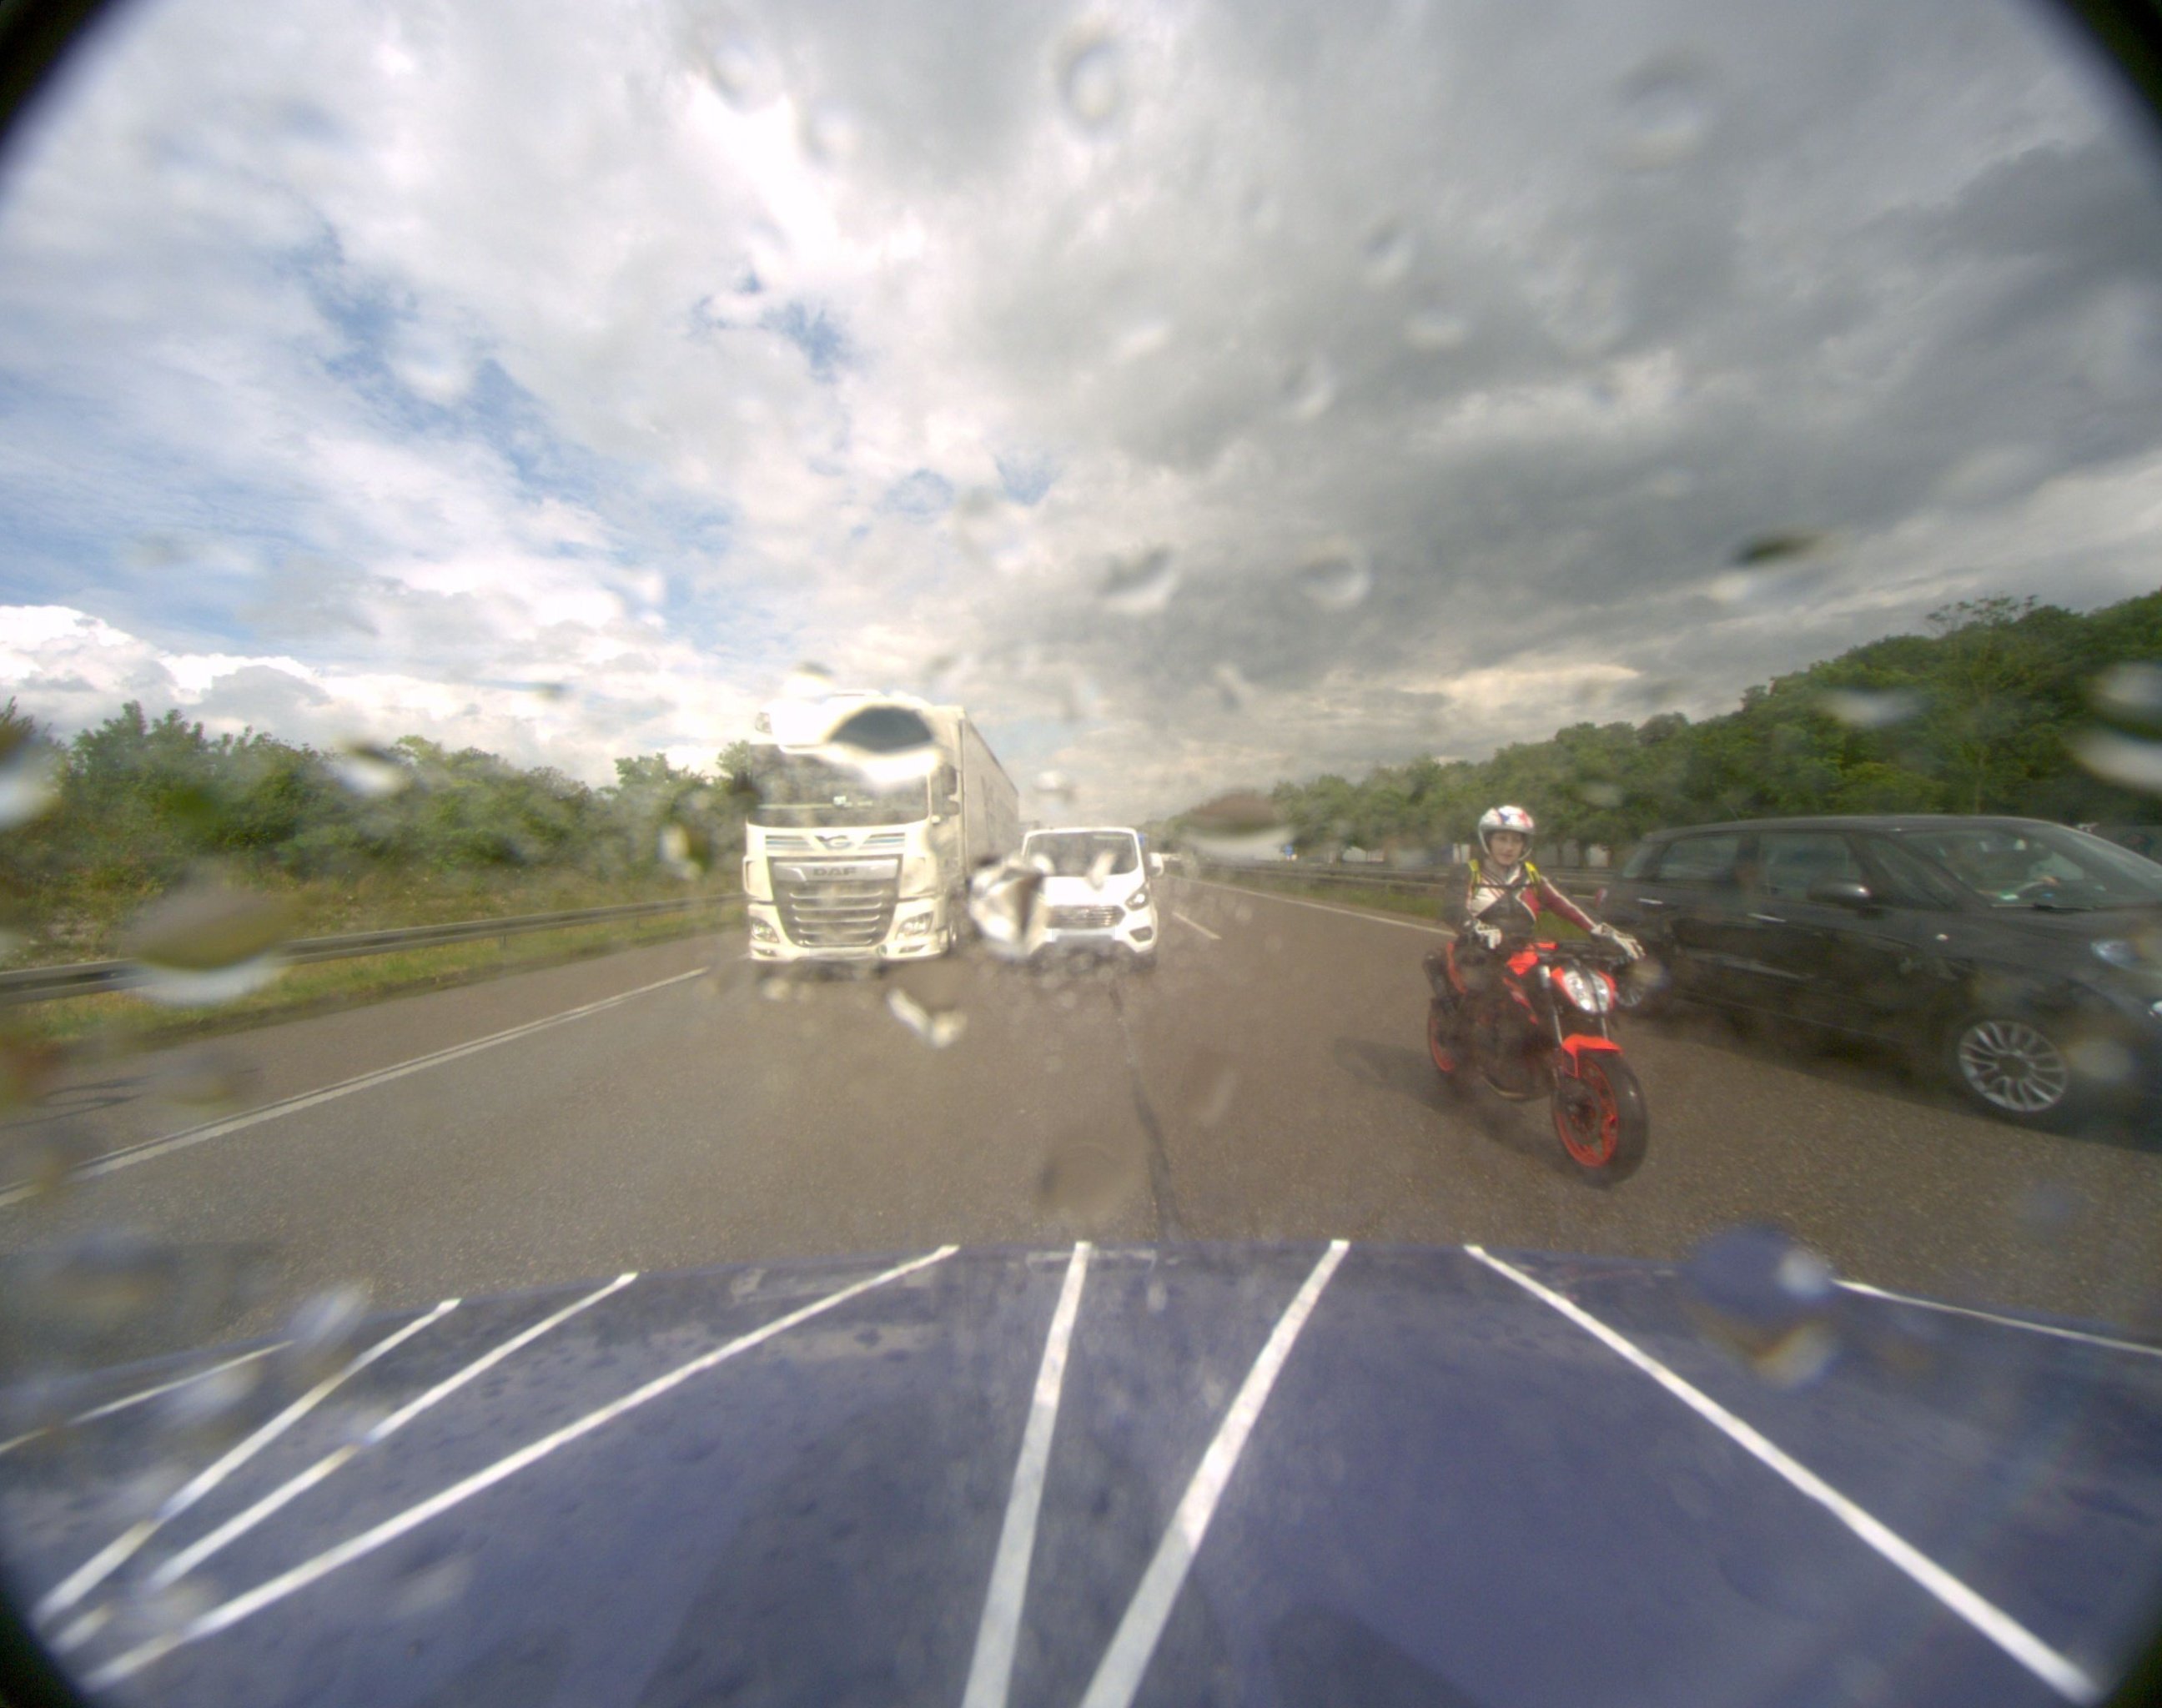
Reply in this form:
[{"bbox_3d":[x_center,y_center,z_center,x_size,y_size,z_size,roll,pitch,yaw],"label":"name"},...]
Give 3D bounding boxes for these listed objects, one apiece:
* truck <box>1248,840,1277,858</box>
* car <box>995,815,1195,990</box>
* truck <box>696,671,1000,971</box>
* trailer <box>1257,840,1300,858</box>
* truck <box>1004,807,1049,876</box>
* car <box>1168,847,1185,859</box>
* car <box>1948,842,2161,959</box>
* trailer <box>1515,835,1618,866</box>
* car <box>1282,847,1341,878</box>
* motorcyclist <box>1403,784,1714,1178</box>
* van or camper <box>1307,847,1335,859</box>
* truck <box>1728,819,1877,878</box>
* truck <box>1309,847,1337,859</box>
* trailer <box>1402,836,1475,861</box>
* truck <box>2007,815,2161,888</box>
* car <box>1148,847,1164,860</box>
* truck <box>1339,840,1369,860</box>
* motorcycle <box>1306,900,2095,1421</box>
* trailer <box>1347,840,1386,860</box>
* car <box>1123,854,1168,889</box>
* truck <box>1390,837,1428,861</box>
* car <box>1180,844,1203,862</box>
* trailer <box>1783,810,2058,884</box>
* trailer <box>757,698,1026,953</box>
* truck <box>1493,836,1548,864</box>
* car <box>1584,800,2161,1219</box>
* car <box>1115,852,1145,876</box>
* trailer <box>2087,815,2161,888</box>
[{"bbox_3d":[40.209,-1.056,168.207,3.219,3.683,6.907,-2,1,-15],"label":"truck"},{"bbox_3d":[0.141,0.557,11.801,2.350,2.033,5.142,-2,1,-1],"label":"car"},{"bbox_3d":[-3.439,-0.448,13.343,3.293,3.868,6.395,-3,0,-1],"label":"truck"},{"bbox_3d":[41.897,-1.031,161.846,3.216,3.717,12.553,-1,0,-14],"label":"trailer"},{"bbox_3d":[-3.610,-0.809,50.911,2.650,4.250,6.882,-2,1,-4],"label":"truck"},{"bbox_3d":[16.279,-0.189,129.992,2.179,2.034,4.650,-2,1,-1],"label":"car"},{"bbox_3d":[17.990,0.726,12.233,2.057,1.765,5.208,-2,1,-1],"label":"car"},{"bbox_3d":[54.992,-0.379,86.732,3.357,3.198,12.470,-1,0,-3],"label":"trailer"},{"bbox_3d":[14.611,0.472,48.491,2.057,1.765,5.208,-2,1,-1],"label":"car"},{"bbox_3d":[2.320,0.552,3.839,0.883,1.696,1.000,-2,1,-3],"label":"motorcyclist"},{"bbox_3d":[46.053,-0.236,145.892,2.126,2.252,6.316,-2,1,-14],"label":"van or camper"},{"bbox_3d":[56.629,-0.479,60.082,3.797,4.210,8.416,-2,1,0],"label":"truck"},{"bbox_3d":[46.406,-0.247,145.786,2.126,2.252,6.311,-2,1,-14],"label":"truck"},{"bbox_3d":[52.241,-0.786,111.629,2.832,3.385,13.416,-1,0,-8],"label":"trailer"},{"bbox_3d":[55.945,-0.207,40.643,3.797,3.569,7.353,-2,1,0],"label":"truck"},{"bbox_3d":[12.600,-0.092,128.201,2.057,2.034,5.208,-2,1,-1],"label":"car"},{"bbox_3d":[48.404,-0.699,134.865,2.663,3.249,5.081,-2,1,-11],"label":"truck"},{"bbox_3d":[2.298,0.979,3.799,1.188,1.219,3.193,-2,1,-4],"label":"motorcycle"},{"bbox_3d":[49.175,-0.698,131.136,2.588,3.214,7.733,-1,1,-10],"label":"trailer"},{"bbox_3d":[4.116,1.072,49.088,2.350,2.033,5.142,-2,1,-1],"label":"car"},{"bbox_3d":[51.289,-0.791,118.990,2.869,3.436,5.892,-2,1,-8],"label":"truck"},{"bbox_3d":[13.590,-0.155,93.670,2.057,2.034,5.208,-2,1,-1],"label":"car"},{"bbox_3d":[56.625,-0.459,52.388,3.798,4.380,13.800,-1,0,1],"label":"trailer"},{"bbox_3d":[-3.478,-0.475,19.022,3.292,3.876,14.125,-3,0,-1],"label":"trailer"},{"bbox_3d":[54.603,-0.463,94.579,3.362,3.254,5.504,-2,1,-4],"label":"truck"},{"bbox_3d":[5.415,0.619,4.835,1.697,1.794,3.975,-2,1,-1],"label":"car"},{"bbox_3d":[4.584,0.899,71.958,2.350,2.033,5.142,-2,1,-1],"label":"car"},{"bbox_3d":[55.872,-0.146,34.144,3.798,3.627,13.344,-1,0,1],"label":"trailer"}]
